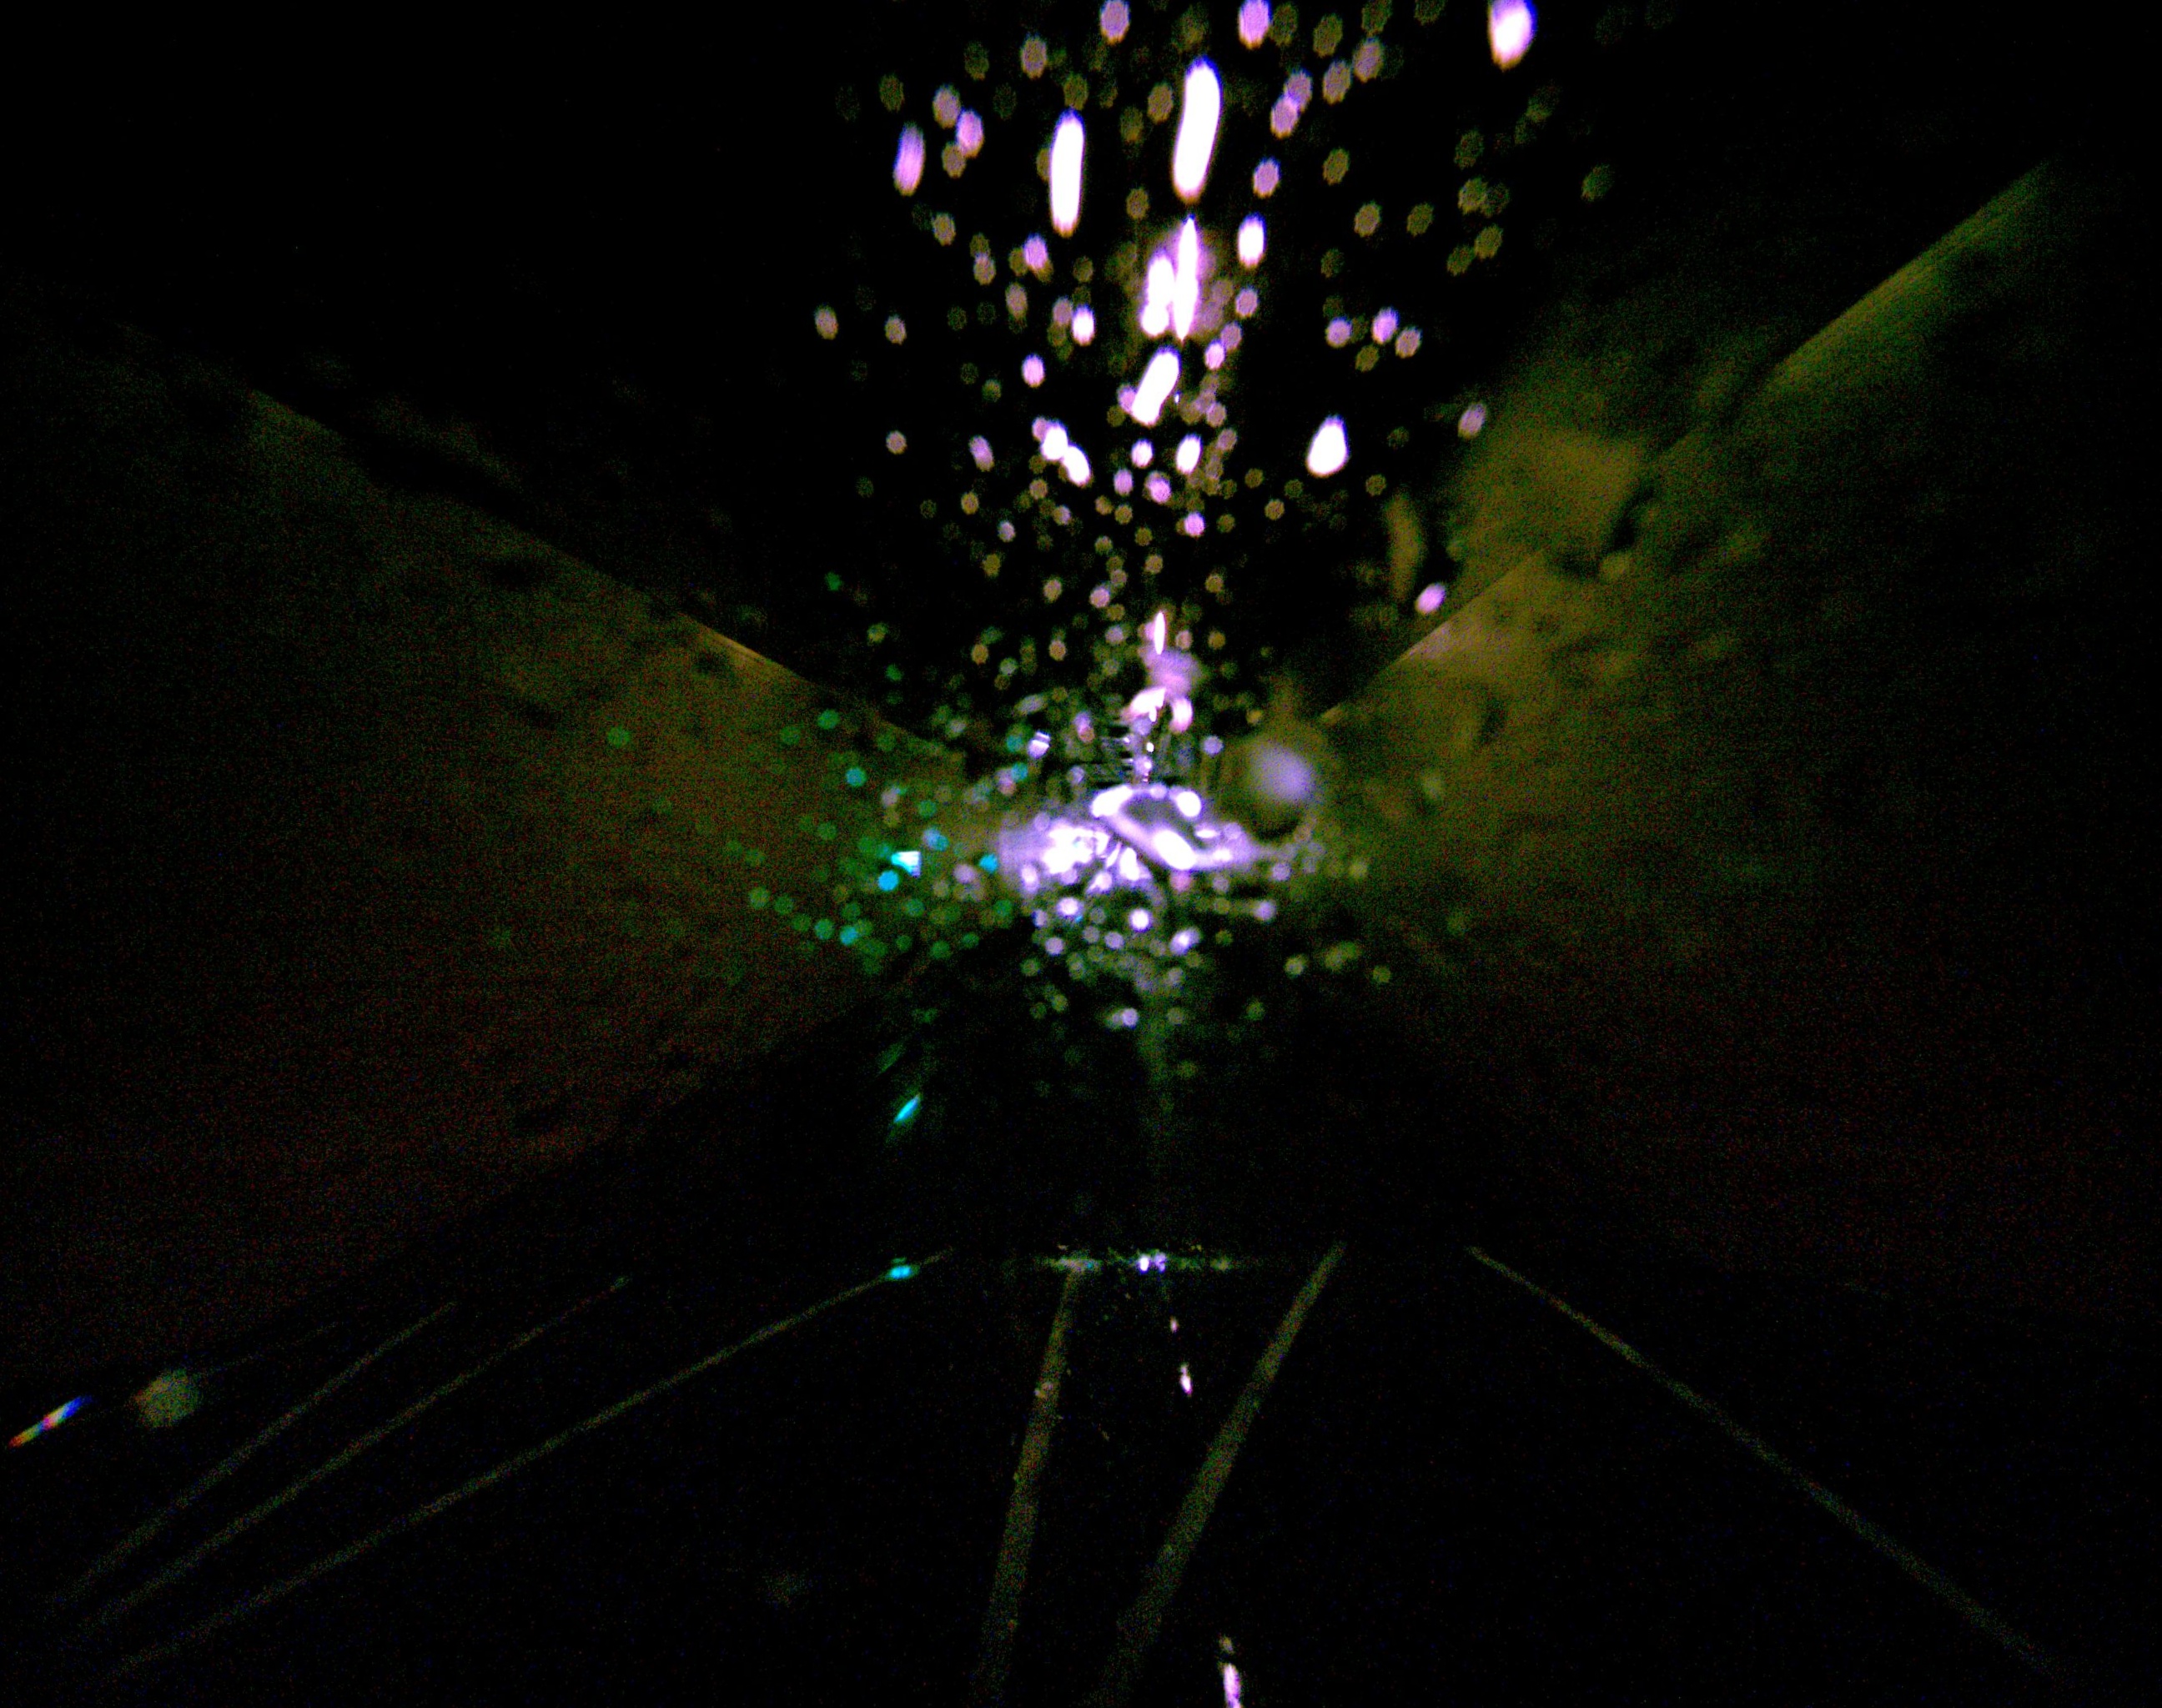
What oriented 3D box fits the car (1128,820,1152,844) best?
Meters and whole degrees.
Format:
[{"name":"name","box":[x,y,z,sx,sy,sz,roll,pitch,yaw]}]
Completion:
[{"name":"car","box":[5.283,-1.932,68.363,2.030,2.017,4.426,-1,0,5]}]
